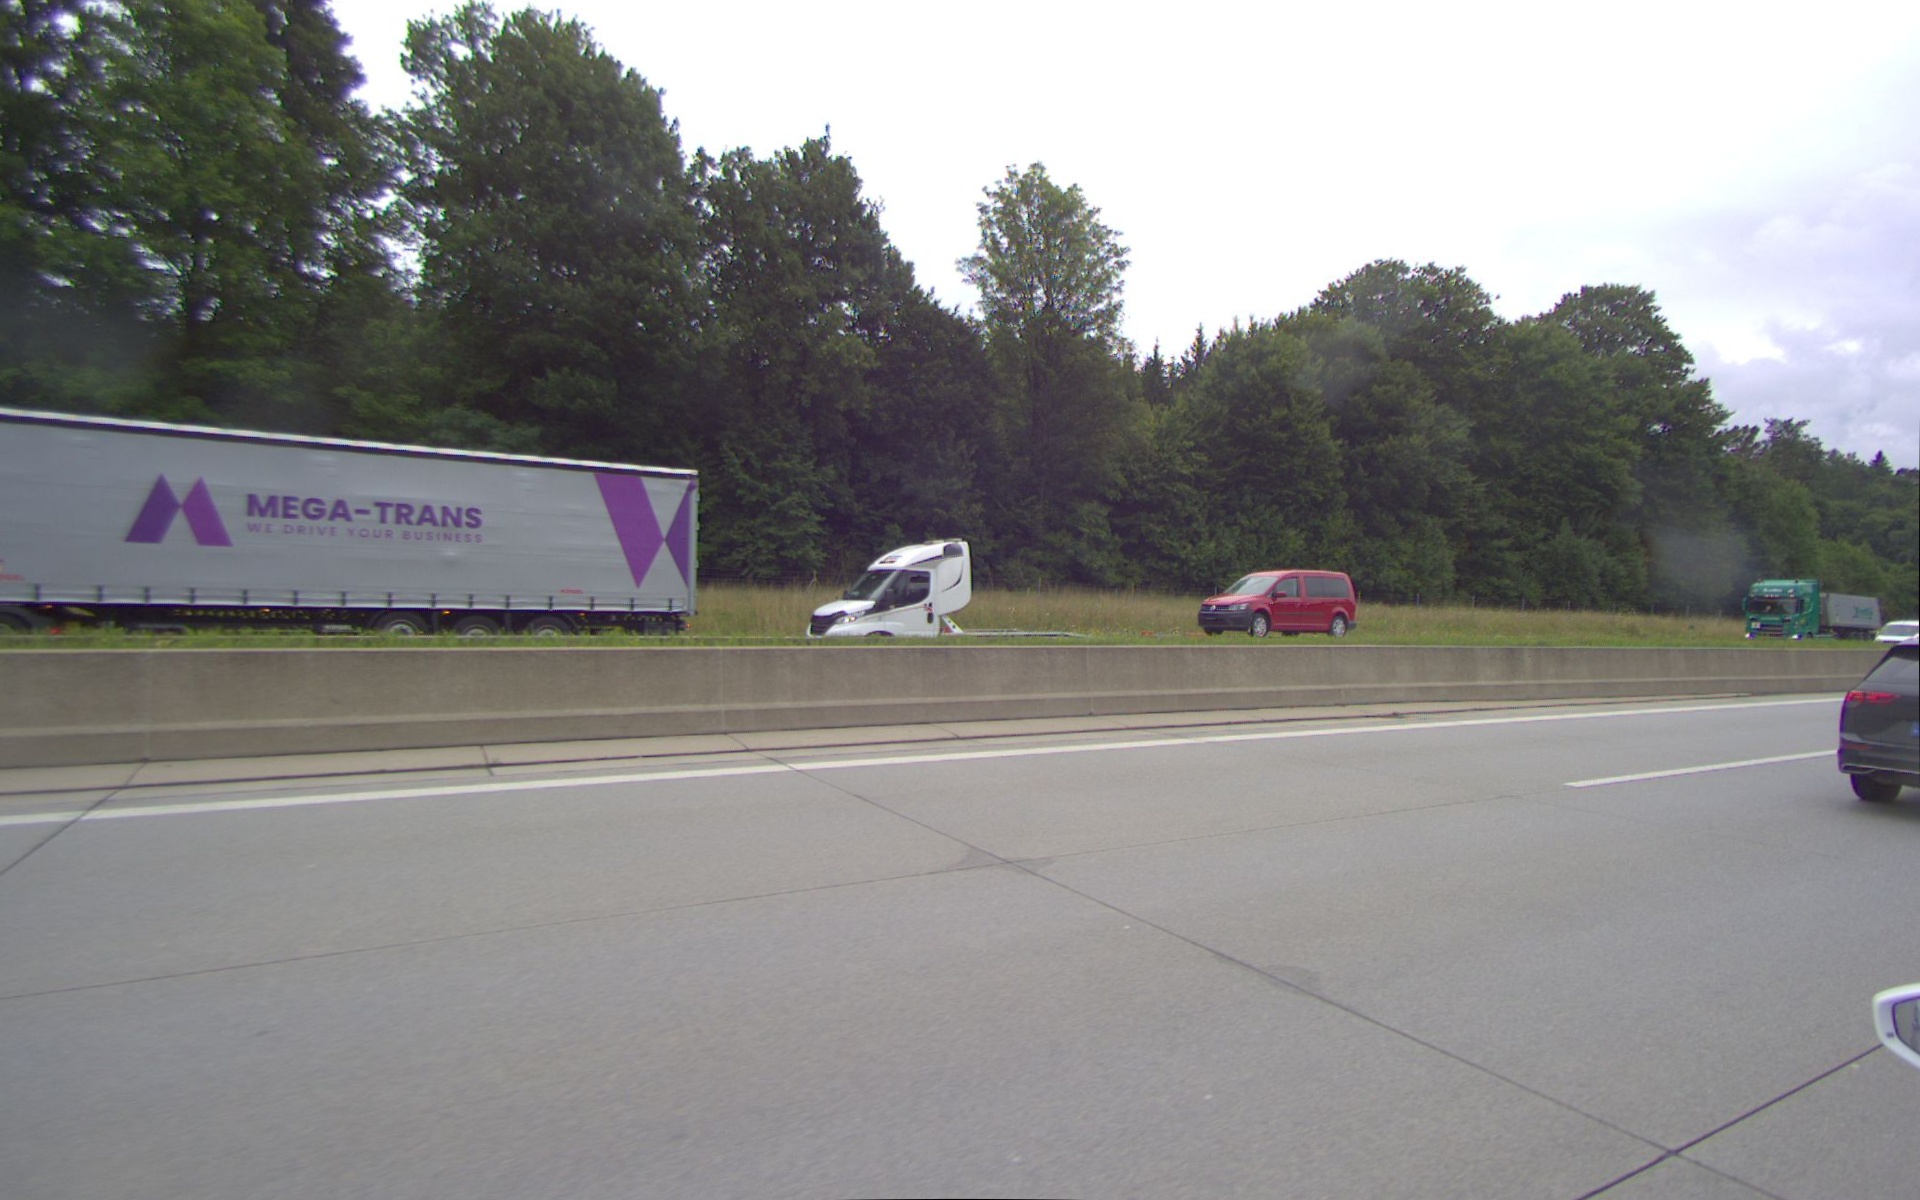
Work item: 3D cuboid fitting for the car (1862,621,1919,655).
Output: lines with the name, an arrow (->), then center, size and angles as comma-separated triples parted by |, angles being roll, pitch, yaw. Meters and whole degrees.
car -> 47.357, 1.892, 50.438 | 4.507, 1.621, 1.771 | 1, 0, -31

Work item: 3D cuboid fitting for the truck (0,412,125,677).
truck -> -17.589, -0.930, 15.833 | 6.385, 4.180, 2.497 | 1, 0, -30

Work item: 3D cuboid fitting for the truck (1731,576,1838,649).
truck -> 45.052, 0.689, 54.845 | 5.596, 3.790, 2.766 | 1, 0, -31

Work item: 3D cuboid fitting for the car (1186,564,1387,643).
car -> 8.655, 0.138, 26.501 | 5.248, 1.907, 1.985 | 1, 0, -29

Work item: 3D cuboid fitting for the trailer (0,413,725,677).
trailer -> -11.689, -0.776, 19.282 | 13.810, 4.158, 2.486 | 1, 0, -30

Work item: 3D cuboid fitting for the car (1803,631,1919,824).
car -> 9.133, 1.011, 8.487 | 4.433, 1.417, 1.743 | 1, 0, -31

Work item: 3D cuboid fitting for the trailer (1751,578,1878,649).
trailer -> 48.545, 0.805, 57.005 | 8.910, 3.750, 2.789 | 1, 0, -31

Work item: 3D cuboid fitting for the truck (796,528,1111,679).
truck -> -0.045, 0.125, 21.473 | 6.435, 2.825, 2.257 | 1, 0, -30
